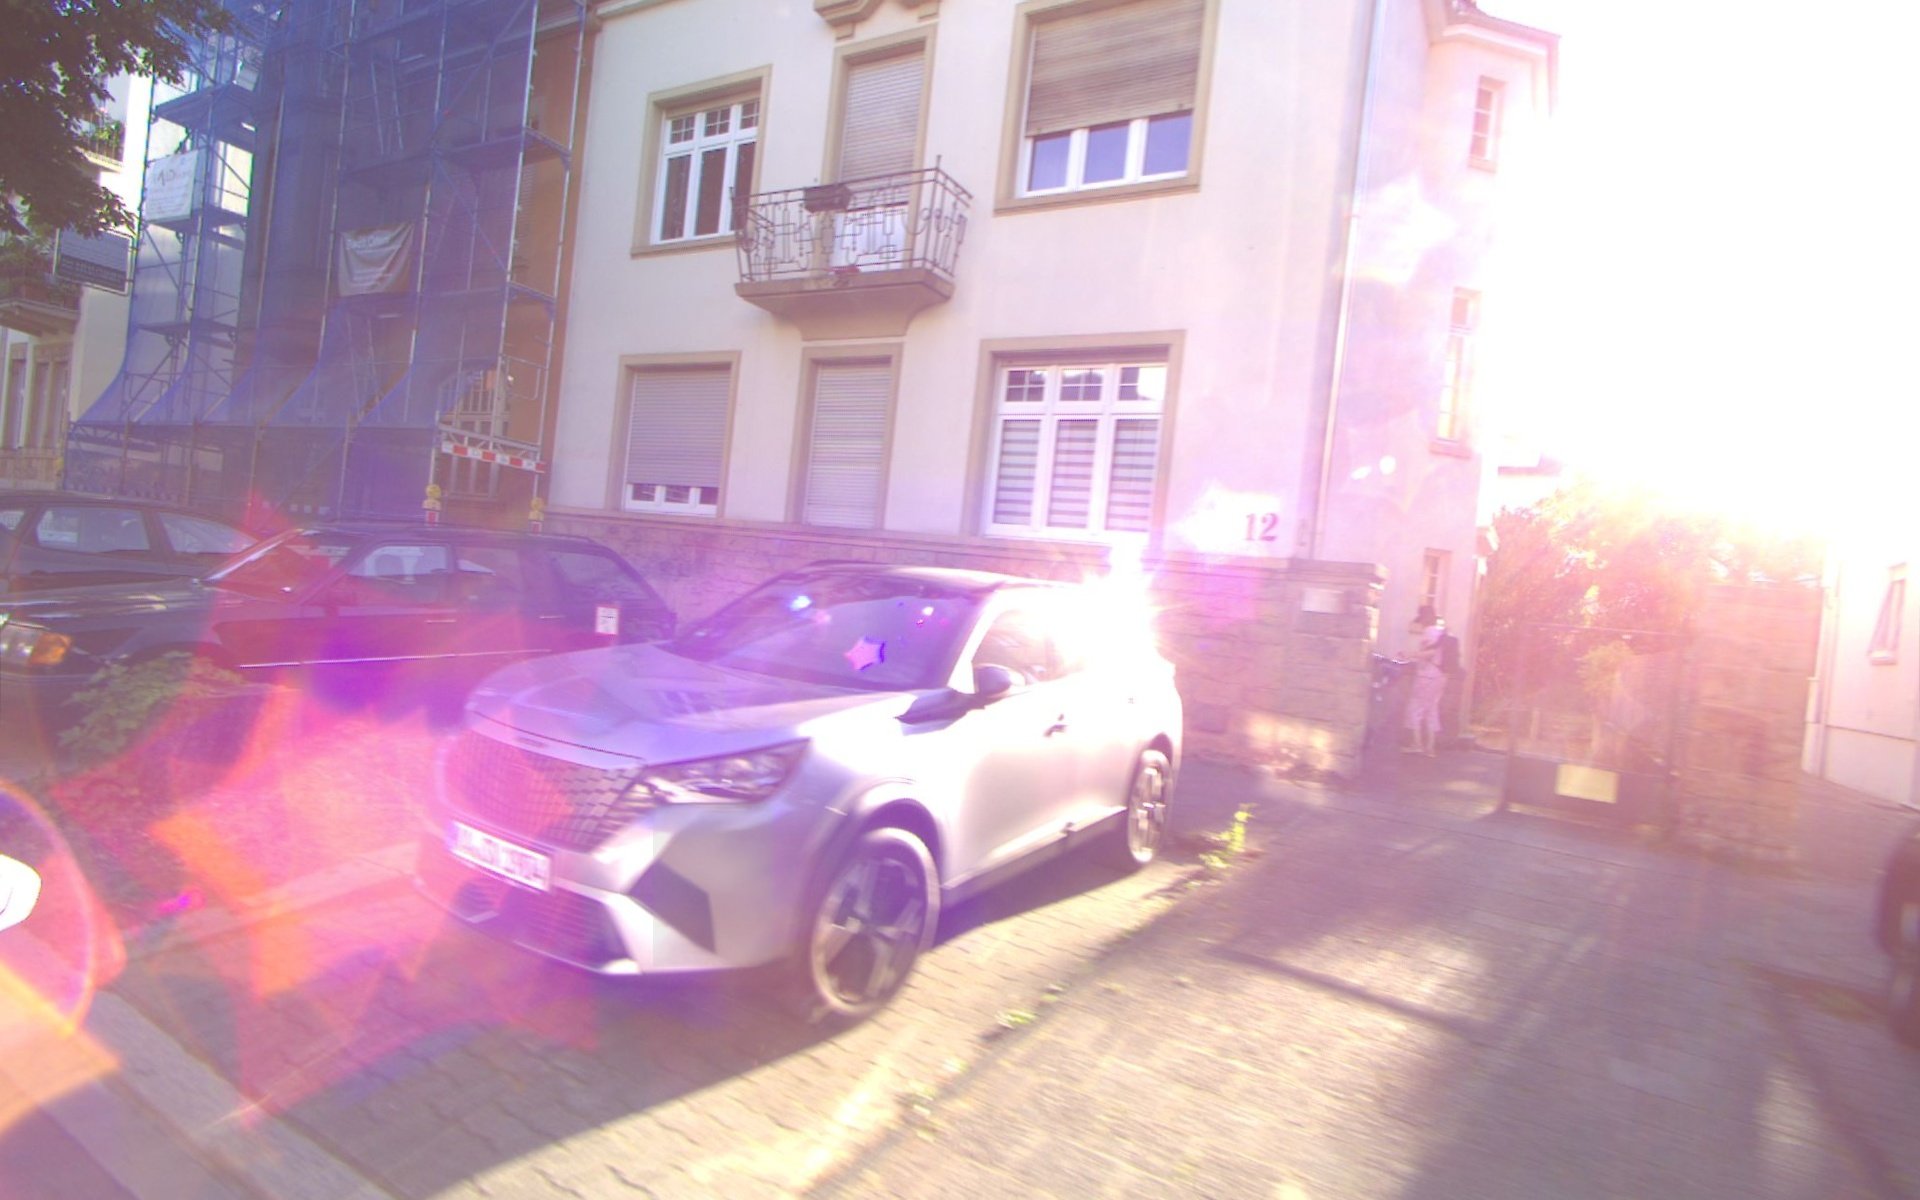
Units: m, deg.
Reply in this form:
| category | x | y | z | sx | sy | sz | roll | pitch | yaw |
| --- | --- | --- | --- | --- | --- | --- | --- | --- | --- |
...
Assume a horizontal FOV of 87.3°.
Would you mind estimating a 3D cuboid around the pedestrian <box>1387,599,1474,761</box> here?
| category | x | y | z | sx | sy | sz | roll | pitch | yaw |
| --- | --- | --- | --- | --- | --- | --- | --- | --- | --- |
| pedestrian | 5.400 | 0.905 | 11.535 | 0.664 | 1.735 | 0.594 | 7 | 0 | 32 |

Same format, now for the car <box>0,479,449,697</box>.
| category | x | y | z | sx | sy | sz | roll | pitch | yaw |
| --- | --- | --- | --- | --- | --- | --- | --- | --- | --- |
| car | -6.763 | -0.118 | 8.426 | 1.821 | 1.511 | 3.987 | 7 | 1 | 32 |

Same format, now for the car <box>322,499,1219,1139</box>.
| category | x | y | z | sx | sy | sz | roll | pitch | yaw |
| --- | --- | --- | --- | --- | --- | --- | --- | --- | --- |
| car | -0.331 | 0.592 | 4.805 | 1.820 | 1.559 | 4.158 | 7 | 1 | 31 |

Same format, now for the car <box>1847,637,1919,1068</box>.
| category | x | y | z | sx | sy | sz | roll | pitch | yaw |
| --- | --- | --- | --- | --- | --- | --- | --- | --- | --- |
| car | 3.996 | 1.030 | 2.403 | 1.676 | 1.705 | 4.337 | 7 | 1 | 28 |

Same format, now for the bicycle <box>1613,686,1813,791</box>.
| category | x | y | z | sx | sy | sz | roll | pitch | yaw |
| --- | --- | --- | --- | --- | --- | --- | --- | --- | --- |
| bicycle | 10.301 | 1.875 | 13.811 | 2.051 | 1.099 | 0.752 | 7 | 0 | 2 |

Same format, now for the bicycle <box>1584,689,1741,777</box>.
| category | x | y | z | sx | sy | sz | roll | pitch | yaw |
| --- | --- | --- | --- | --- | --- | --- | --- | --- | --- |
| bicycle | 12.158 | 2.296 | 17.451 | 2.051 | 1.184 | 0.752 | 7 | 0 | 2 |

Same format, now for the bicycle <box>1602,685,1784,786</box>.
| category | x | y | z | sx | sy | sz | roll | pitch | yaw |
| --- | --- | --- | --- | --- | --- | --- | --- | --- | --- |
| bicycle | 11.075 | 2.030 | 15.250 | 2.051 | 1.184 | 0.752 | 7 | 0 | 2 |

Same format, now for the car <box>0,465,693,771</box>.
| category | x | y | z | sx | sy | sz | roll | pitch | yaw |
| --- | --- | --- | --- | --- | --- | --- | --- | --- | --- |
| car | -4.451 | 0.095 | 7.536 | 1.820 | 1.555 | 4.720 | 7 | 1 | 31 |

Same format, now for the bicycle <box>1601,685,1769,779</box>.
| category | x | y | z | sx | sy | sz | roll | pitch | yaw |
| --- | --- | --- | --- | --- | --- | --- | --- | --- | --- |
| bicycle | 11.735 | 2.121 | 16.332 | 2.051 | 1.184 | 0.752 | 7 | 0 | 2 |
